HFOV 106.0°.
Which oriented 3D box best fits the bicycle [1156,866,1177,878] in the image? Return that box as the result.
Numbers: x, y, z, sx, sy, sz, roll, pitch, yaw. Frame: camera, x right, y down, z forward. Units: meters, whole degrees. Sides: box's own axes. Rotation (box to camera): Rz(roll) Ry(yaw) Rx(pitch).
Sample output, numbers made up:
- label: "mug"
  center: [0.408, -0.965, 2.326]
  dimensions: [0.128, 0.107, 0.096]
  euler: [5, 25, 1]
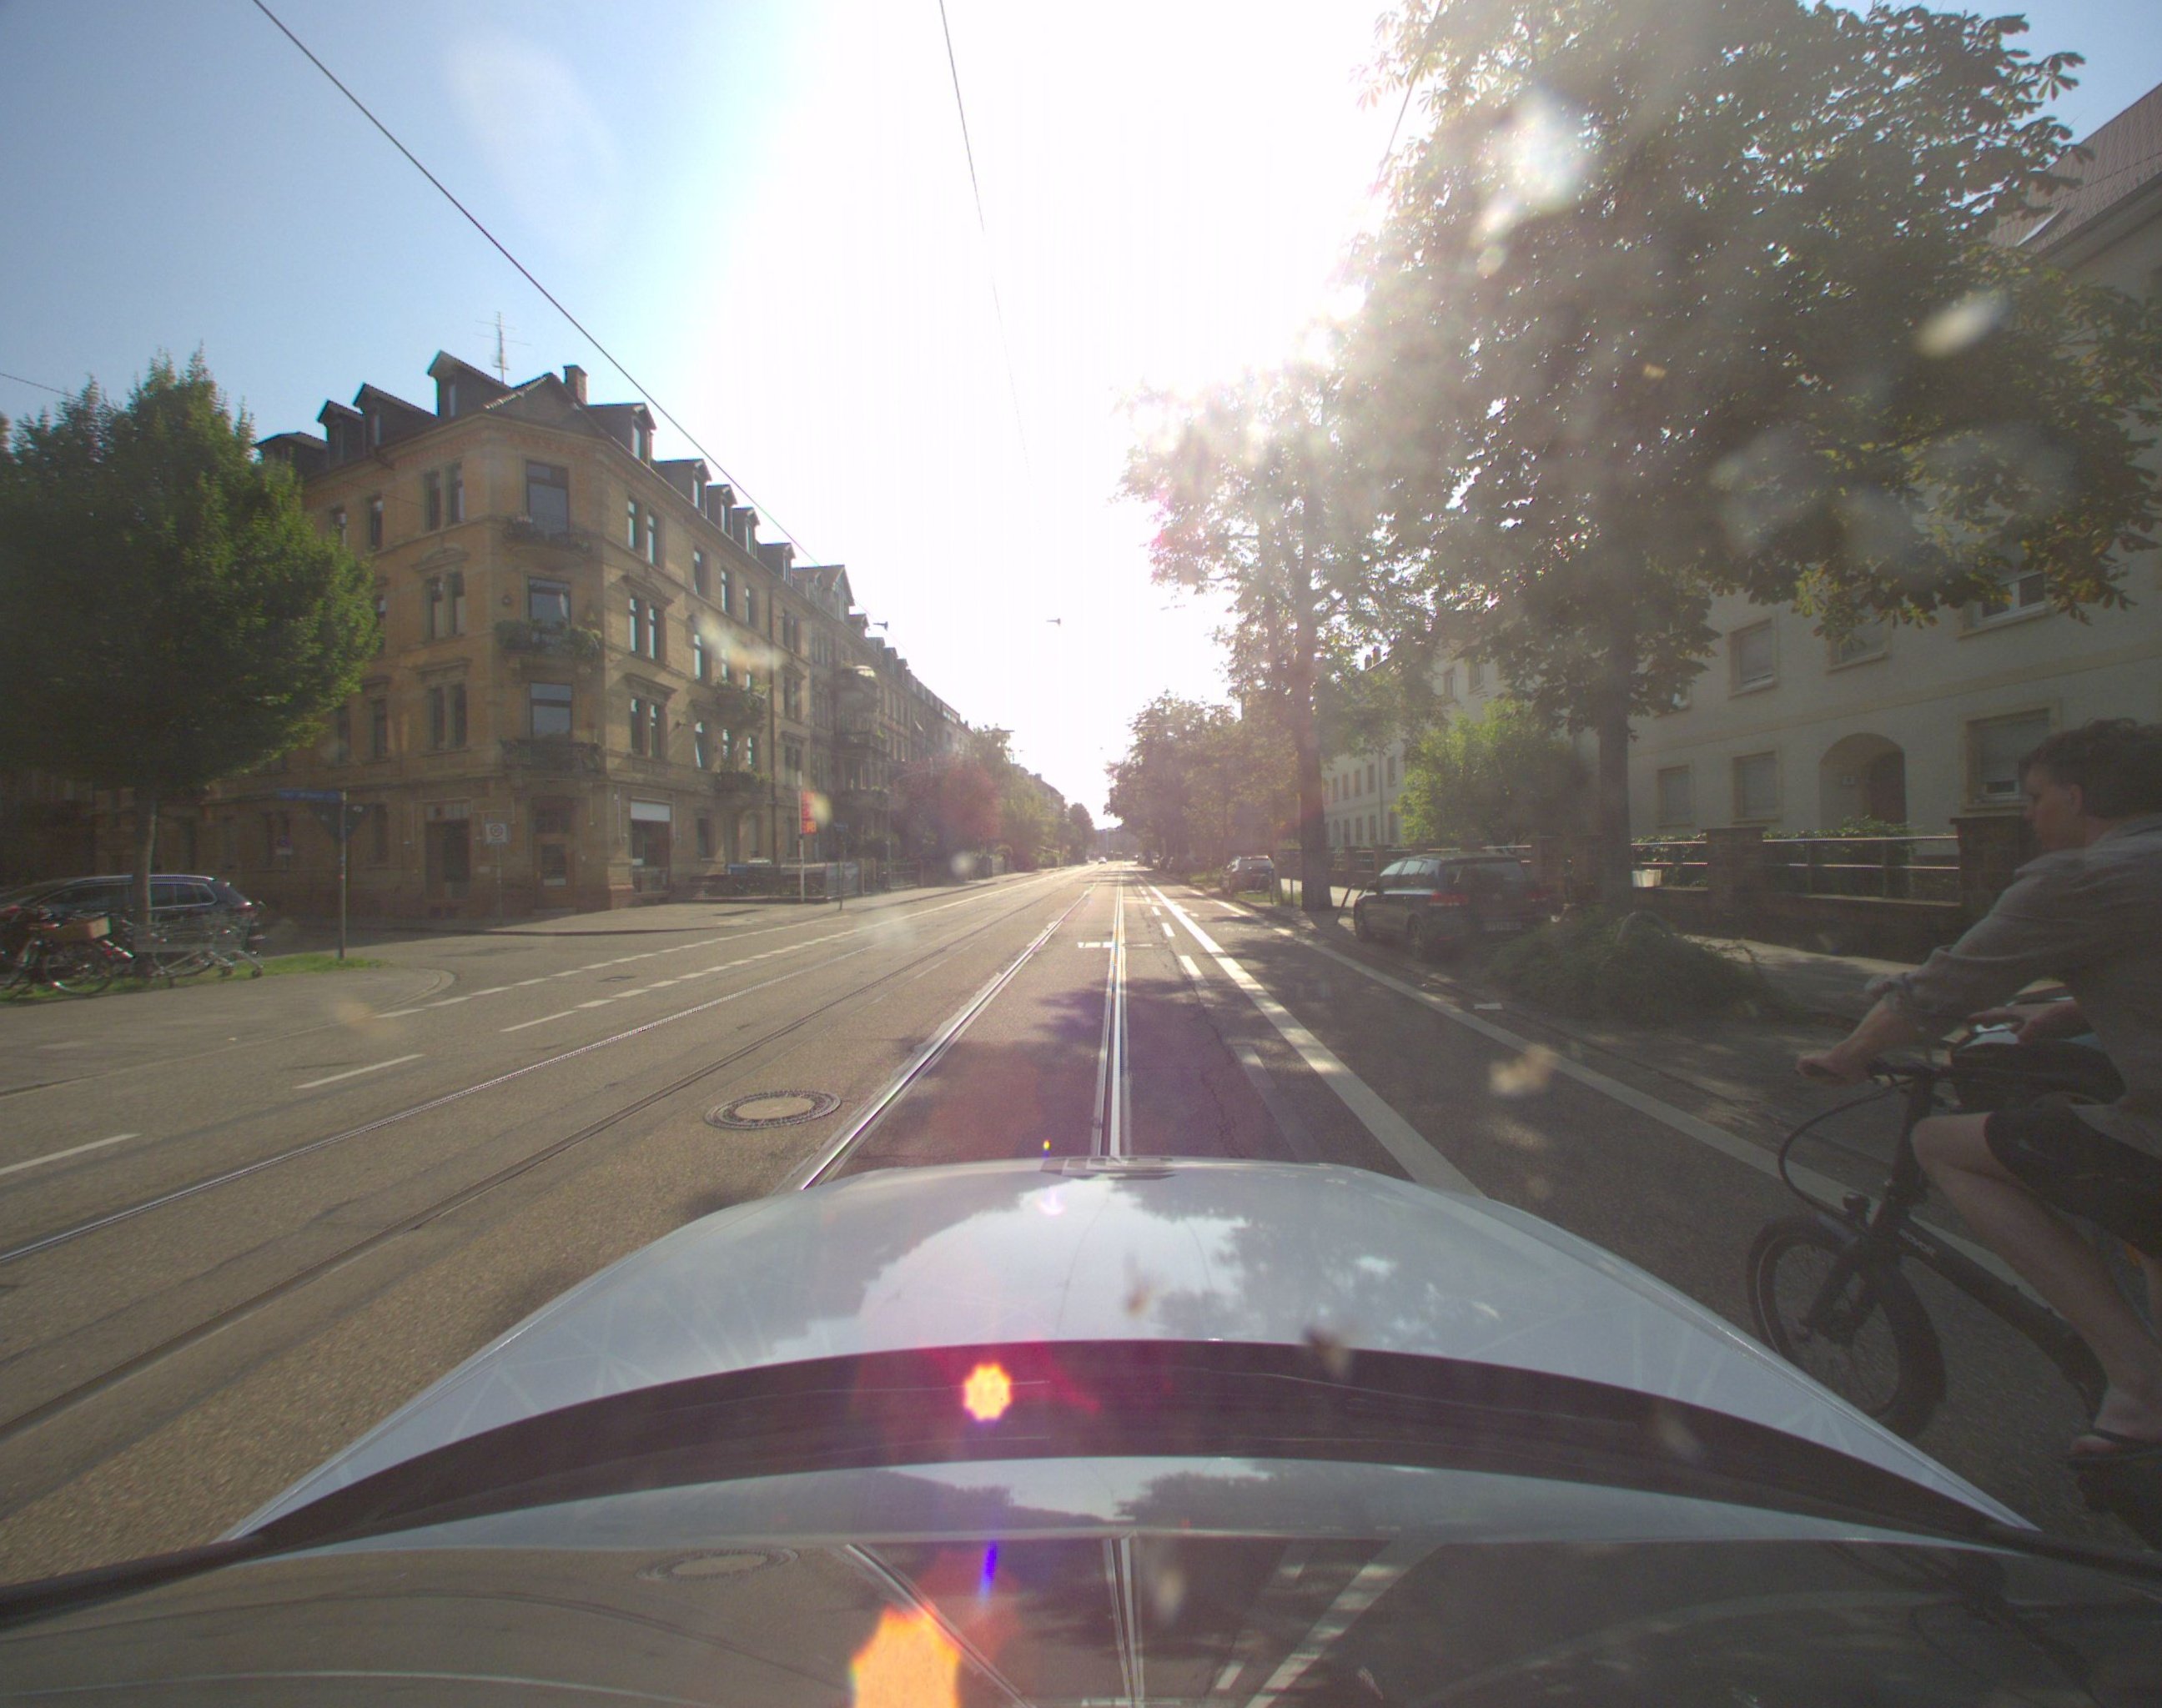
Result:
- label: "bicycle"
  center: [8.694, 1.818, 82.895]
  dimensions: [2.103, 1.105, 0.562]
  euler: [-1, -1, -5]

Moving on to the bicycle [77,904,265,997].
- label: "bicycle"
  center: [-13.323, 1.373, 11.994]
  dimensions: [0.478, 1.160, 1.783]
  euler: [-2, -1, 22]

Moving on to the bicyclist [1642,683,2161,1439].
- label: "bicyclist"
  center: [1.985, 0.386, 1.983]
  dimensions: [0.624, 1.401, 0.930]
  euler: [1, -1, 2]

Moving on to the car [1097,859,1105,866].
- label: "car"
  center: [4.747, 2.058, 190.481]
  dimensions: [1.719, 1.638, 3.987]
  euler: [-1, -1, 3]

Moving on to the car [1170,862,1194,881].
- label: "car"
  center: [8.600, 1.448, 69.618]
  dimensions: [1.719, 1.504, 3.987]
  euler: [-3, -1, 3]

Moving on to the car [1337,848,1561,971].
- label: "car"
  center: [5.394, 0.748, 12.569]
  dimensions: [1.683, 1.502, 4.098]
  euler: [-3, -1, 3]

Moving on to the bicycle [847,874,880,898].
- label: "bicycle"
  center: [-9.663, 1.404, 36.169]
  dimensions: [1.353, 1.060, 0.417]
  euler: [0, -1, 0]

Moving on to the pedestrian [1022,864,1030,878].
- label: "pedestrian"
  center: [-6.166, 1.940, 91.831]
  dimensions: [0.749, 1.591, 0.879]
  euler: [-1, -1, 4]

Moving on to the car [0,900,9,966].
- label: "car"
  center: [-25.318, 1.748, 16.539]
  dimensions: [1.746, 1.455, 3.967]
  euler: [-2, -1, 23]

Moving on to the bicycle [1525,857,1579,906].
- label: "bicycle"
  center: [10.756, 0.614, 18.643]
  dimensions: [0.414, 1.060, 1.489]
  euler: [-2, -1, 3]

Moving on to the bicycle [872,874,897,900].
- label: "bicycle"
  center: [-8.952, 1.483, 37.171]
  dimensions: [0.506, 1.108, 2.005]
  euler: [-1, -1, 3]

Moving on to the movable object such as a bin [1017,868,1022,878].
- label: "movable object such as a bin"
  center: [-6.898, 2.137, 91.679]
  dimensions: [0.588, 1.078, 0.704]
  euler: [-1, -1, -3]

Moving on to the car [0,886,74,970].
- label: "car"
  center: [-21.239, 1.412, 14.509]
  dimensions: [1.747, 1.526, 3.787]
  euler: [-2, -1, 21]

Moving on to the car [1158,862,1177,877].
- label: "car"
  center: [9.170, 1.629, 86.647]
  dimensions: [1.764, 1.473, 3.977]
  euler: [-2, -2, 3]

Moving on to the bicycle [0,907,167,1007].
- label: "bicycle"
  center: [-13.194, 1.321, 10.560]
  dimensions: [1.855, 1.181, 0.542]
  euler: [-2, -1, -8]

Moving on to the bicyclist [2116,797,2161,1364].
- label: "bicyclist"
  center: [3.126, 0.588, 1.752]
  dimensions: [0.652, 1.474, 0.909]
  euler: [1, -1, 2]

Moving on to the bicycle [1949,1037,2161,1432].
- label: "bicycle"
  center: [3.123, 1.047, 1.761]
  dimensions: [0.652, 0.909, 1.776]
  euler: [1, -1, 2]

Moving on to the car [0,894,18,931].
- label: "car"
  center: [-47.128, 2.507, 34.300]
  dimensions: [3.951, 1.494, 2.011]
  euler: [-2, -1, 25]

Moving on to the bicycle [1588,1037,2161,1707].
- label: "bicycle"
  center: [1.981, 1.065, 1.962]
  dimensions: [0.624, 0.909, 1.526]
  euler: [1, -1, 2]

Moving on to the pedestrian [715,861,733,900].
- label: "pedestrian"
  center: [-15.803, 1.169, 36.042]
  dimensions: [0.549, 1.667, 0.579]
  euler: [-1, -1, -8]

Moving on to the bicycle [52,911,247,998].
- label: "bicycle"
  center: [-13.857, 1.455, 12.195]
  dimensions: [0.537, 1.090, 1.846]
  euler: [-2, -1, 21]

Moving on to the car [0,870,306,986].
- label: "car"
  center: [-15.935, 1.114, 13.690]
  dimensions: [1.746, 1.660, 3.789]
  euler: [0, -1, 24]

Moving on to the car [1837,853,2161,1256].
- label: "car"
  center: [4.867, 0.751, 2.196]
  dimensions: [1.683, 1.435, 4.339]
  euler: [-4, -1, 2]

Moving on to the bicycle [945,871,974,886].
- label: "bicycle"
  center: [-8.878, 1.783, 59.373]
  dimensions: [2.009, 1.104, 0.588]
  euler: [-1, -1, 0]

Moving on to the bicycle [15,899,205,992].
- label: "bicycle"
  center: [-14.734, 1.346, 12.432]
  dimensions: [0.537, 1.229, 1.781]
  euler: [-2, -1, 16]

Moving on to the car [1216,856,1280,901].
- label: "car"
  center: [6.353, 0.912, 31.367]
  dimensions: [1.736, 1.561, 4.723]
  euler: [-2, -1, 4]

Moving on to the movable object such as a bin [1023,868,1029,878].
- label: "movable object such as a bin"
  center: [-6.228, 2.142, 91.722]
  dimensions: [0.629, 1.078, 0.704]
  euler: [-1, -1, -3]

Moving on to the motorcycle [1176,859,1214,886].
- label: "motorcycle"
  center: [7.518, 1.223, 53.710]
  dimensions: [0.919, 1.674, 2.390]
  euler: [-3, -1, -43]
